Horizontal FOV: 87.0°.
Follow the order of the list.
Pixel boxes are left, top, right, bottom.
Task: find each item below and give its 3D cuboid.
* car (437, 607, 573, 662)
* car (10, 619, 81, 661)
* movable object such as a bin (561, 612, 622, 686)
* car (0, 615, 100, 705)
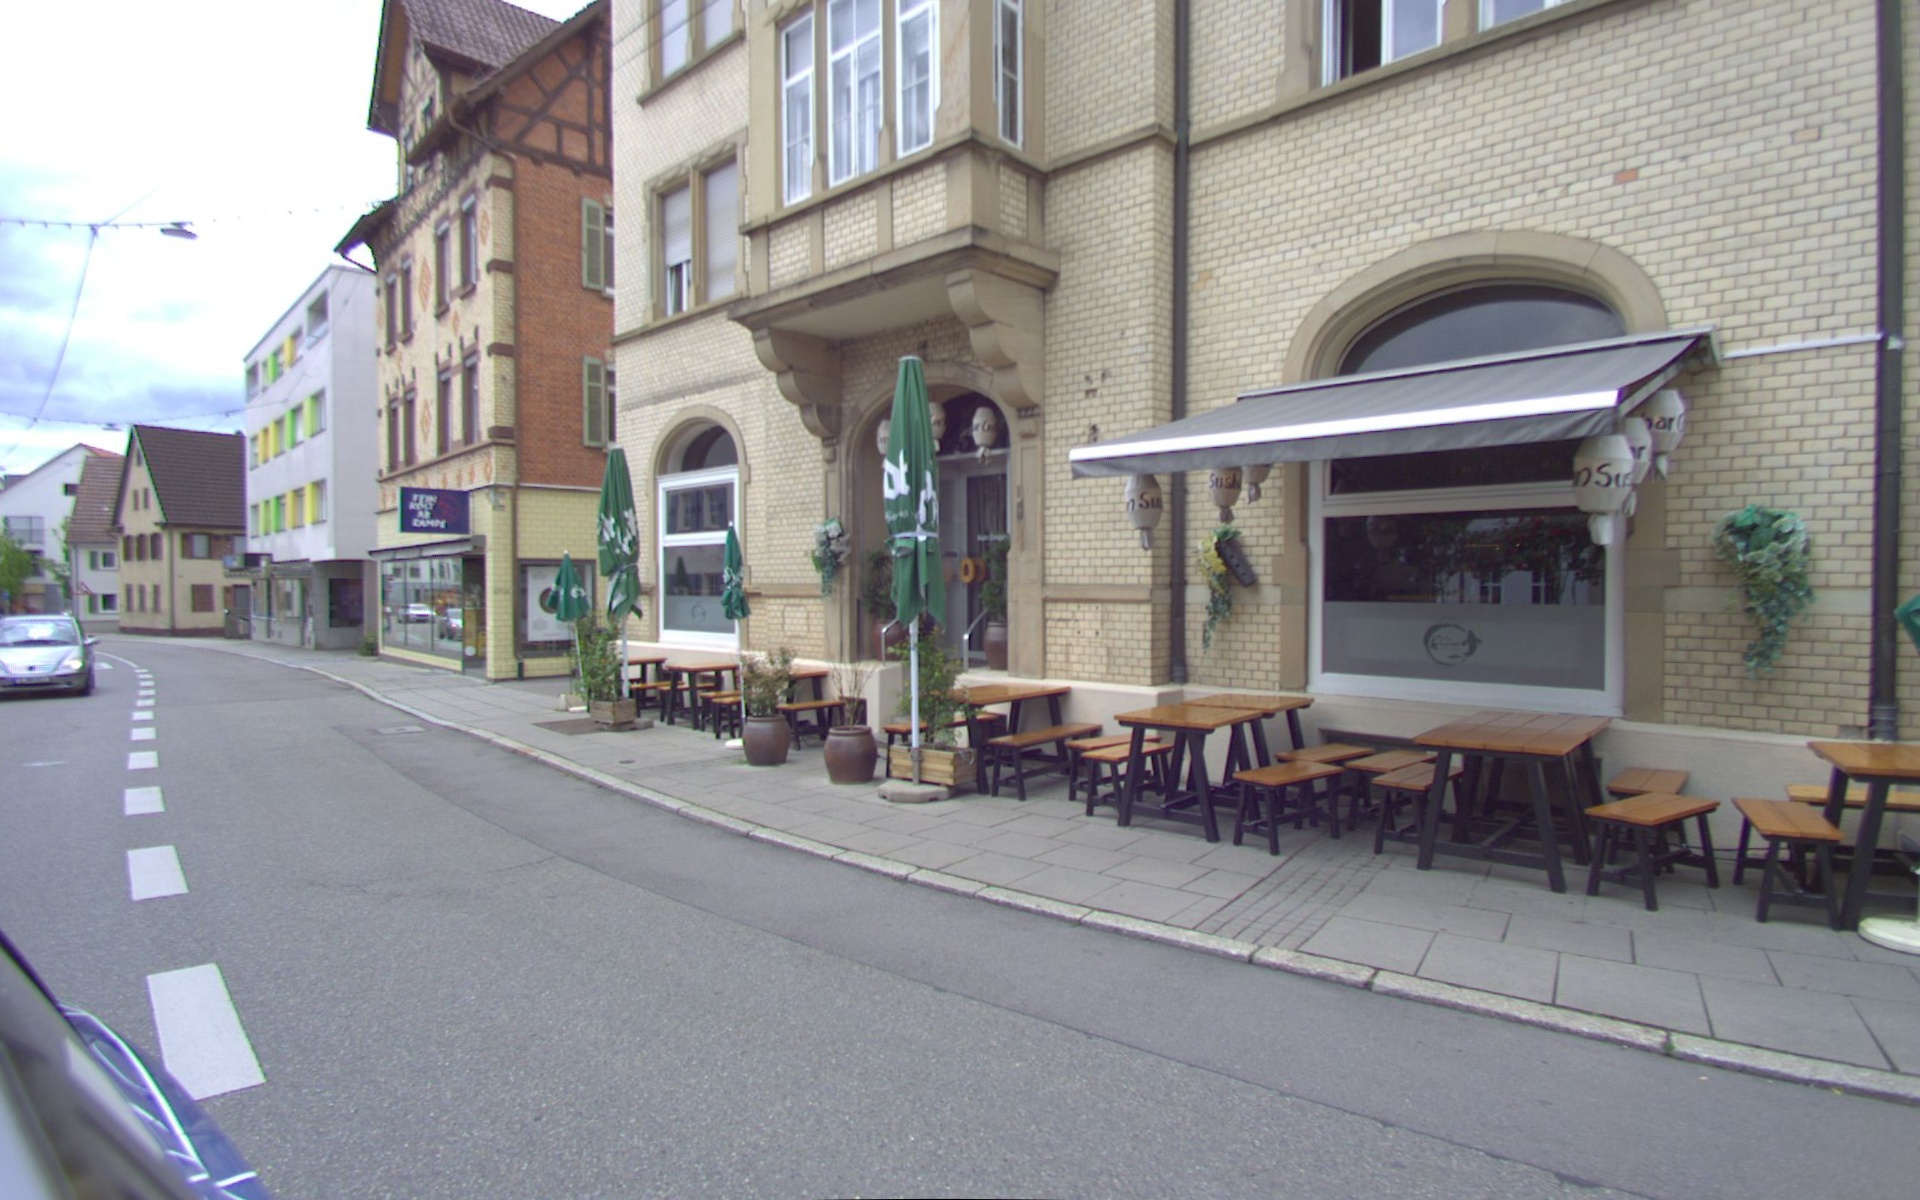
[{"bbox_3d":[-15.787,1.150,35.213,3.947,1.674,1.889,-2,1,-40],"label":"car"},{"bbox_3d":[-33.141,1.403,36.641,1.730,1.365,4.003,-1,0,-45],"label":"car"},{"bbox_3d":[-7.571,0.988,20.802,0.930,1.388,0.825,-4,5,-40],"label":"movable object such as a bin"},{"bbox_3d":[-18.518,1.125,20.288,1.867,1.640,4.005,1,-1,-41],"label":"car"}]
